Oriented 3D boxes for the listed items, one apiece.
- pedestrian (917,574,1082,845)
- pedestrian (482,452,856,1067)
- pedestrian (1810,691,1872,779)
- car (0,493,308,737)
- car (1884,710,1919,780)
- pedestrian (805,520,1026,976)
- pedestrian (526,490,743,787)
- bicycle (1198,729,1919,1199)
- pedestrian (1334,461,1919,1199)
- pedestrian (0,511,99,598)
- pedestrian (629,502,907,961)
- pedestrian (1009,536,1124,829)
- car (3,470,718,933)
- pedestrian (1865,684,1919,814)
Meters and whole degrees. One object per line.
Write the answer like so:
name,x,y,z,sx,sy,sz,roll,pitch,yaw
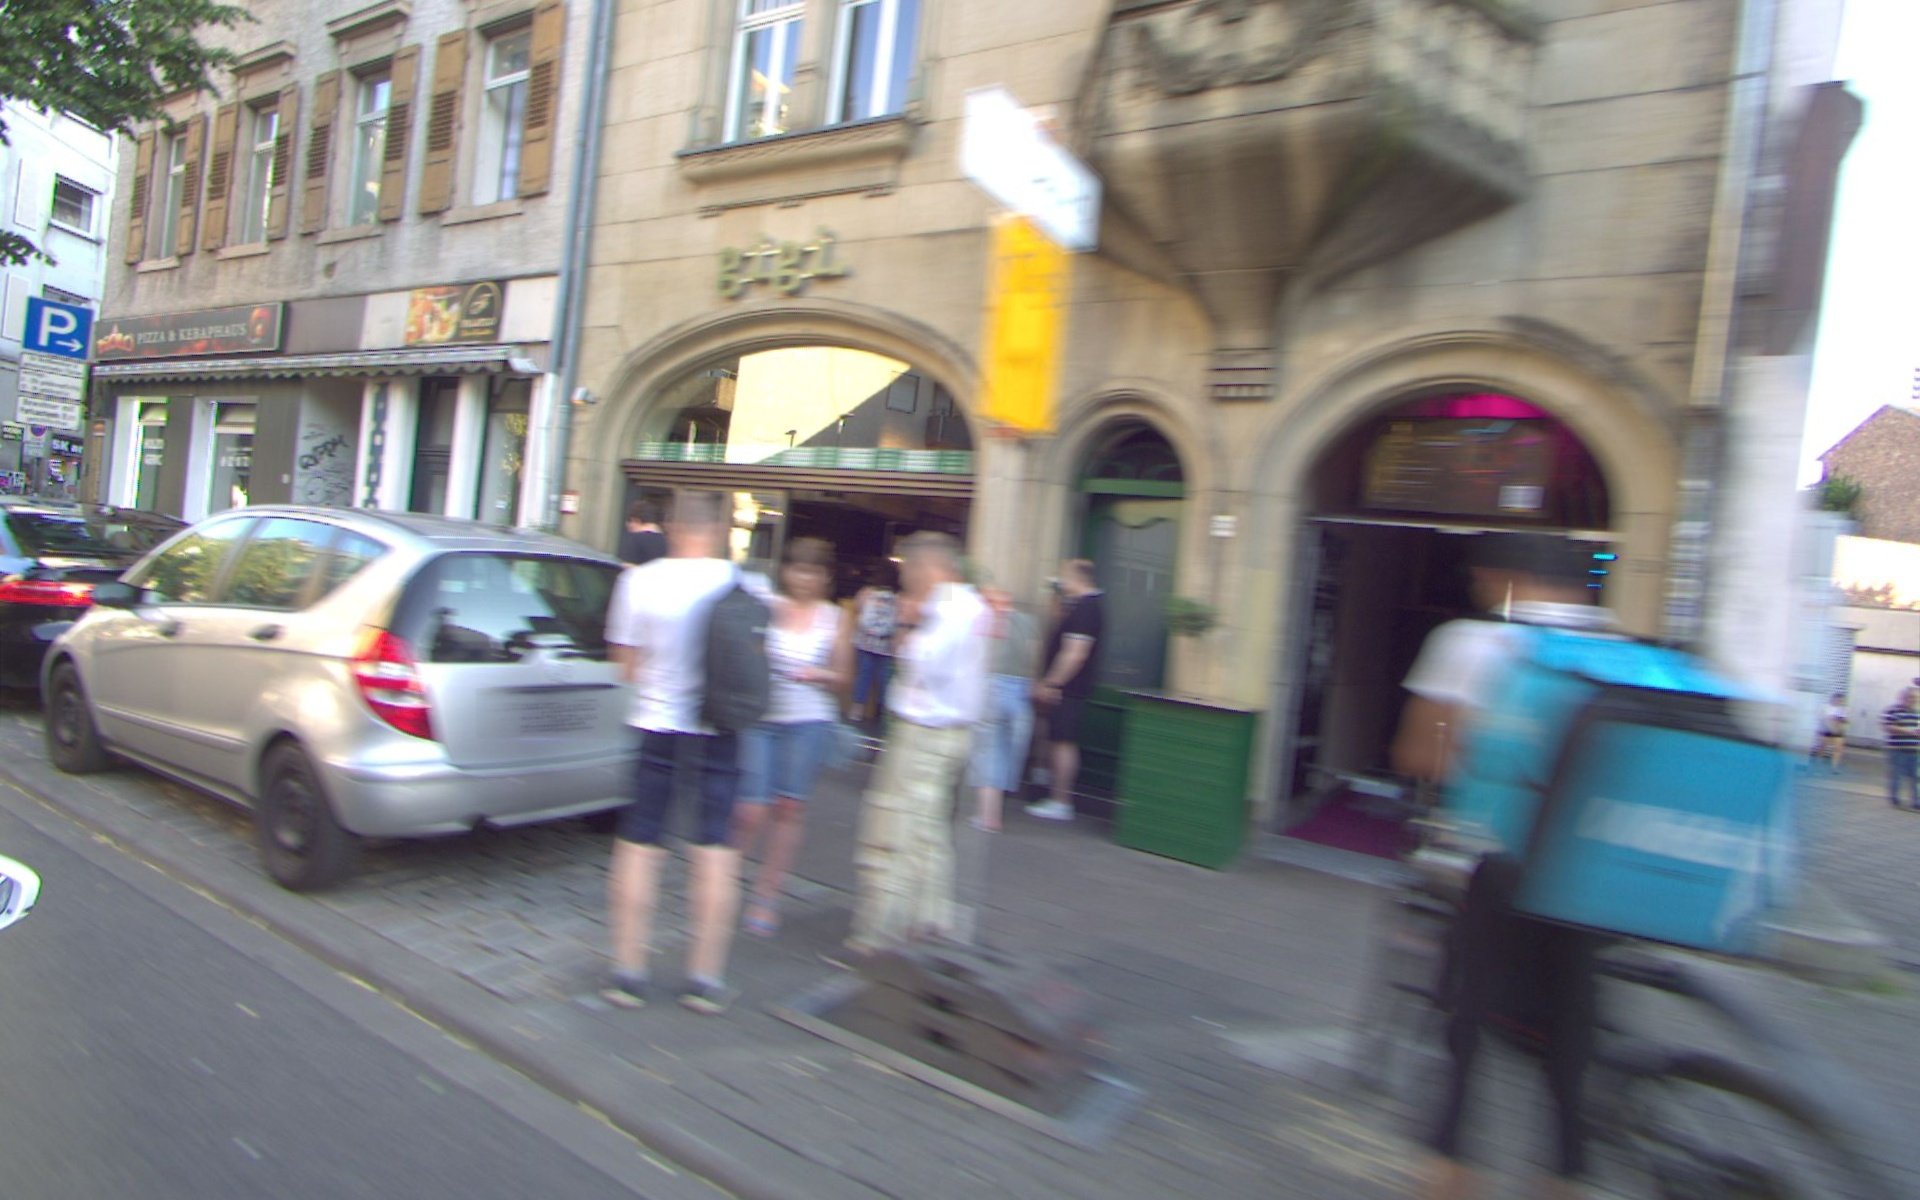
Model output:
pedestrian,0.259,0.670,6.519,0.690,1.583,0.658,7,3,32
pedestrian,-0.959,0.467,3.412,0.810,1.776,0.679,7,1,21
pedestrian,18.088,2.755,20.671,0.637,1.674,0.691,8,2,31
car,-7.219,-0.073,7.863,4.448,1.394,1.785,7,2,31
car,22.305,3.359,22.372,1.703,1.461,3.895,7,0,31
pedestrian,-0.217,0.576,4.156,0.657,1.723,0.651,5,3,-12
pedestrian,-2.301,0.239,7.124,1.078,1.879,0.823,7,3,30
bicycle,1.613,1.104,2.792,0.854,1.113,1.917,5,2,-19
pedestrian,1.344,0.708,2.254,0.766,1.850,1.015,7,3,22
pedestrian,-13.307,-0.667,14.704,1.339,1.156,0.682,5,1,32
pedestrian,-0.806,0.508,4.333,0.810,1.729,0.679,6,3,17
pedestrian,0.740,0.553,6.934,0.492,1.899,0.461,7,2,17
car,-3.407,0.278,5.497,3.946,1.596,1.687,7,3,32
pedestrian,13.327,2.085,14.127,0.645,1.738,0.546,8,2,35
